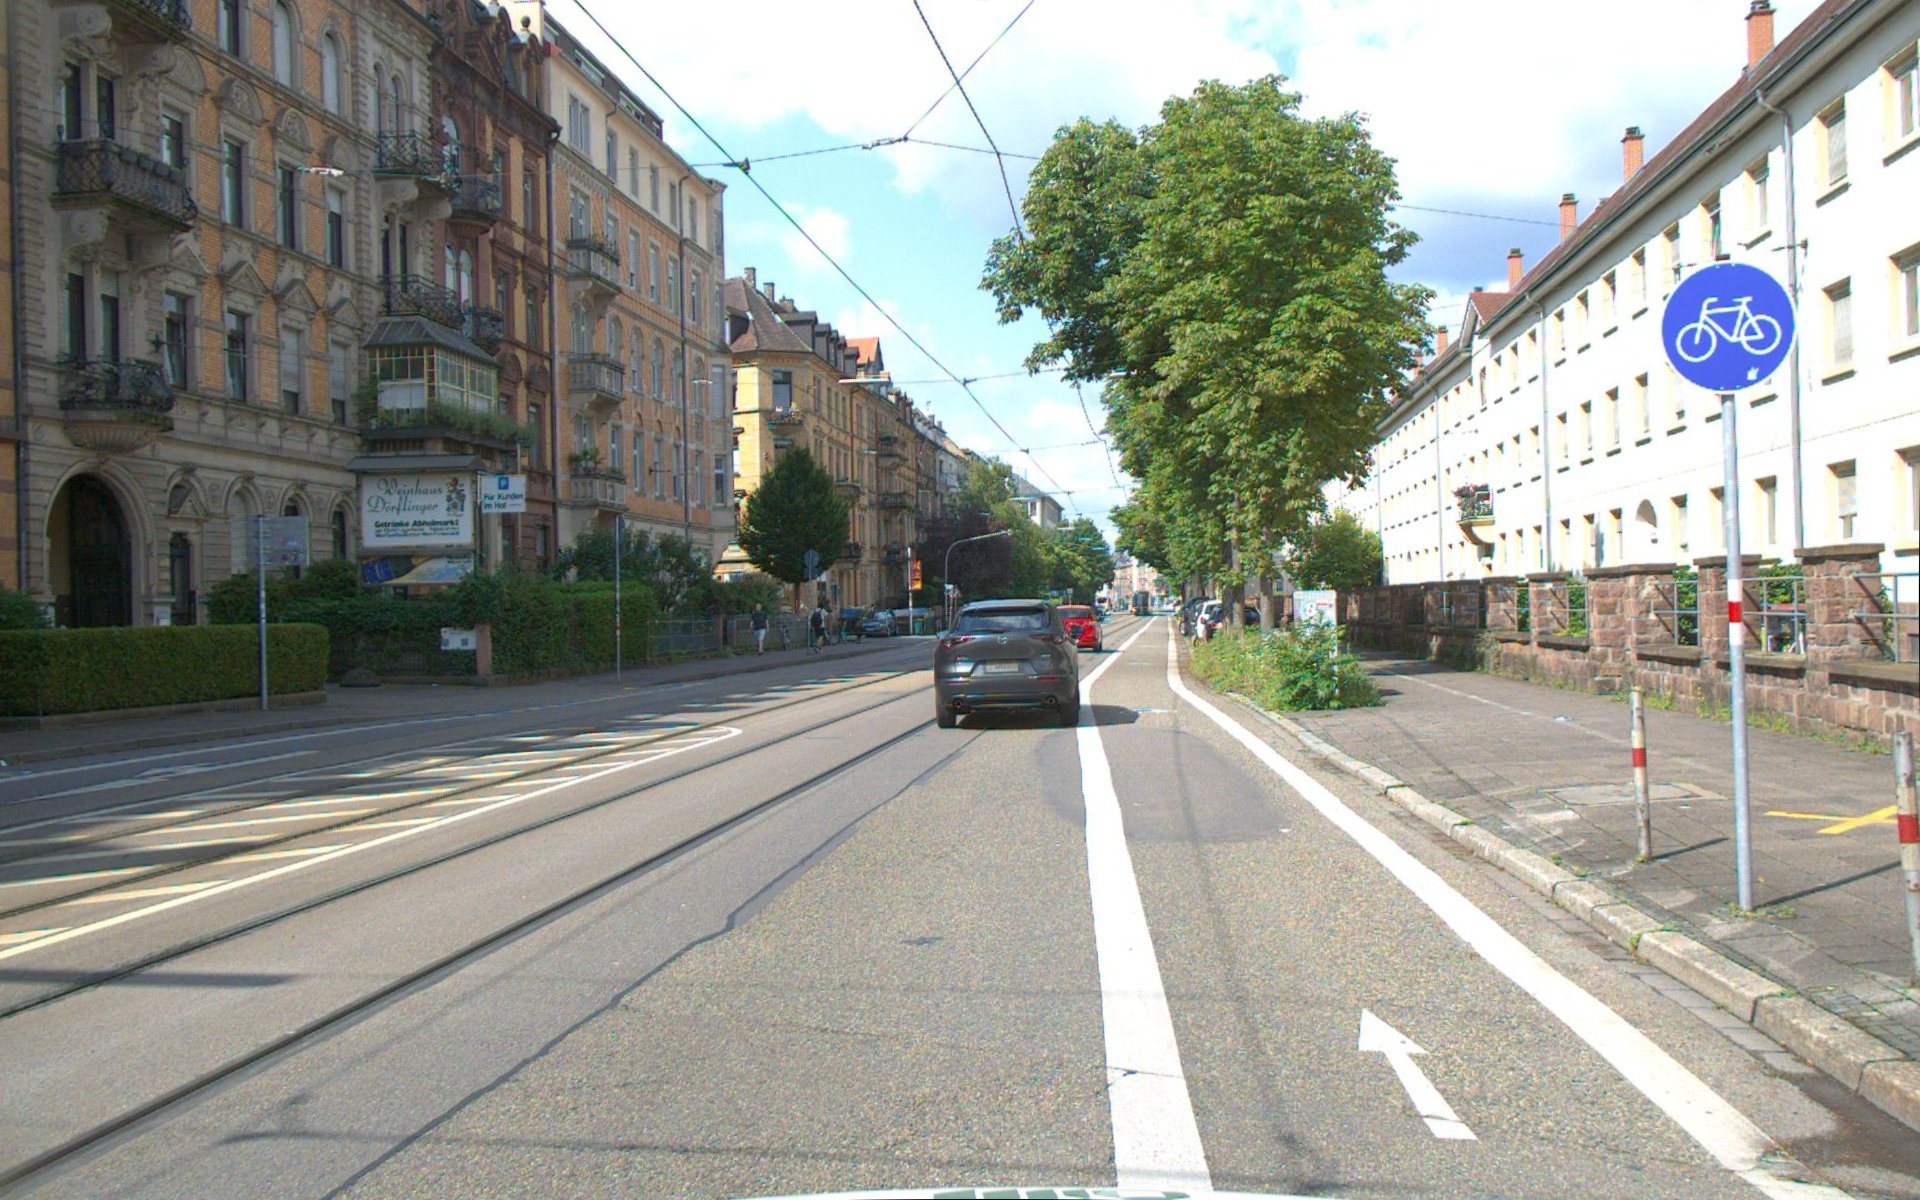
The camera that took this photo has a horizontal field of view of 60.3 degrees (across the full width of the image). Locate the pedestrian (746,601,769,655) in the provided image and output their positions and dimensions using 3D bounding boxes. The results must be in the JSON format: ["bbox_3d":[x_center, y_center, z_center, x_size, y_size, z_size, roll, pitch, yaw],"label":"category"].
[{"bbox_3d":[-6.638,0.910,54.274,0.477,1.733,1.152,-1,-1,5],"label":"pedestrian"}]

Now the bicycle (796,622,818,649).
[{"bbox_3d":[-5.942,1.382,64.236,0.412,0.993,1.951,-2,-1,7],"label":"bicycle"}]

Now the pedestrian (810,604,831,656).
[{"bbox_3d":[-4.858,1.036,57.720,0.522,1.791,1.106,0,0,7],"label":"pedestrian"}]

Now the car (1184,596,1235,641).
[{"bbox_3d":[9.961,0.730,66.218,1.823,1.682,4.641,-2,-1,7],"label":"car"}]

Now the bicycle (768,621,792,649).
[{"bbox_3d":[-6.487,1.245,59.648,0.412,0.949,1.951,-2,-1,7],"label":"bicycle"}]

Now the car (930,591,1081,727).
[{"bbox_3d":[0.667,0.697,21.270,1.684,1.553,3.591,-2,0,5],"label":"car"}]

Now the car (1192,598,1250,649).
[{"bbox_3d":[8.695,0.774,55.333,1.705,1.608,4.252,-2,0,6],"label":"car"}]

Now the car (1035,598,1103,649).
[{"bbox_3d":[3.559,0.744,53.229,1.951,1.555,4.003,0,0,7],"label":"car"}]

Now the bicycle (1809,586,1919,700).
[{"bbox_3d":[10.186,0.463,18.670,0.494,1.222,1.492,-2,0,4],"label":"bicycle"}]

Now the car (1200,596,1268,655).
[{"bbox_3d":[7.646,0.695,46.481,1.625,1.547,4.291,-2,0,6],"label":"car"}]

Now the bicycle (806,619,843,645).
[{"bbox_3d":[-5.645,1.327,68.852,1.422,0.994,0.404,-2,0,7],"label":"bicycle"}]

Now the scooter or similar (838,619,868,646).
[{"bbox_3d":[-5.020,1.530,77.515,1.342,1.256,0.401,-1,-1,-22],"label":"scooter or similar"}]

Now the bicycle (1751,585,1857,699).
[{"bbox_3d":[9.502,0.459,18.667,0.494,1.222,1.492,-2,0,4],"label":"bicycle"}]

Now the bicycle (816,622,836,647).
[{"bbox_3d":[-5.436,1.397,66.983,0.412,0.993,1.951,-2,-1,7],"label":"bicycle"}]

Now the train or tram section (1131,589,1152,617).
[{"bbox_3d":[26.388,0.420,240.963,2.517,3.838,13.033,-2,0,5],"label":"train or tram section"}]

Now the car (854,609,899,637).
[{"bbox_3d":[-4.610,1.251,92.236,1.649,1.485,4.768,-2,-1,7],"label":"car"}]

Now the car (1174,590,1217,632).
[{"bbox_3d":[10.785,0.484,75.959,1.788,1.813,4.736,-2,0,7],"label":"car"}]

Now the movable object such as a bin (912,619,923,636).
[{"bbox_3d":[-2.451,1.569,94.656,0.514,0.921,0.636,-2,-1,6],"label":"movable object such as a bin"}]

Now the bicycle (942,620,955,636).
[{"bbox_3d":[-0.724,1.737,102.589,0.519,0.963,1.969,-2,-1,7],"label":"bicycle"}]

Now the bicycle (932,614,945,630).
[{"bbox_3d":[-1.280,1.319,99.201,0.519,0.963,1.969,-2,-1,7],"label":"bicycle"}]
